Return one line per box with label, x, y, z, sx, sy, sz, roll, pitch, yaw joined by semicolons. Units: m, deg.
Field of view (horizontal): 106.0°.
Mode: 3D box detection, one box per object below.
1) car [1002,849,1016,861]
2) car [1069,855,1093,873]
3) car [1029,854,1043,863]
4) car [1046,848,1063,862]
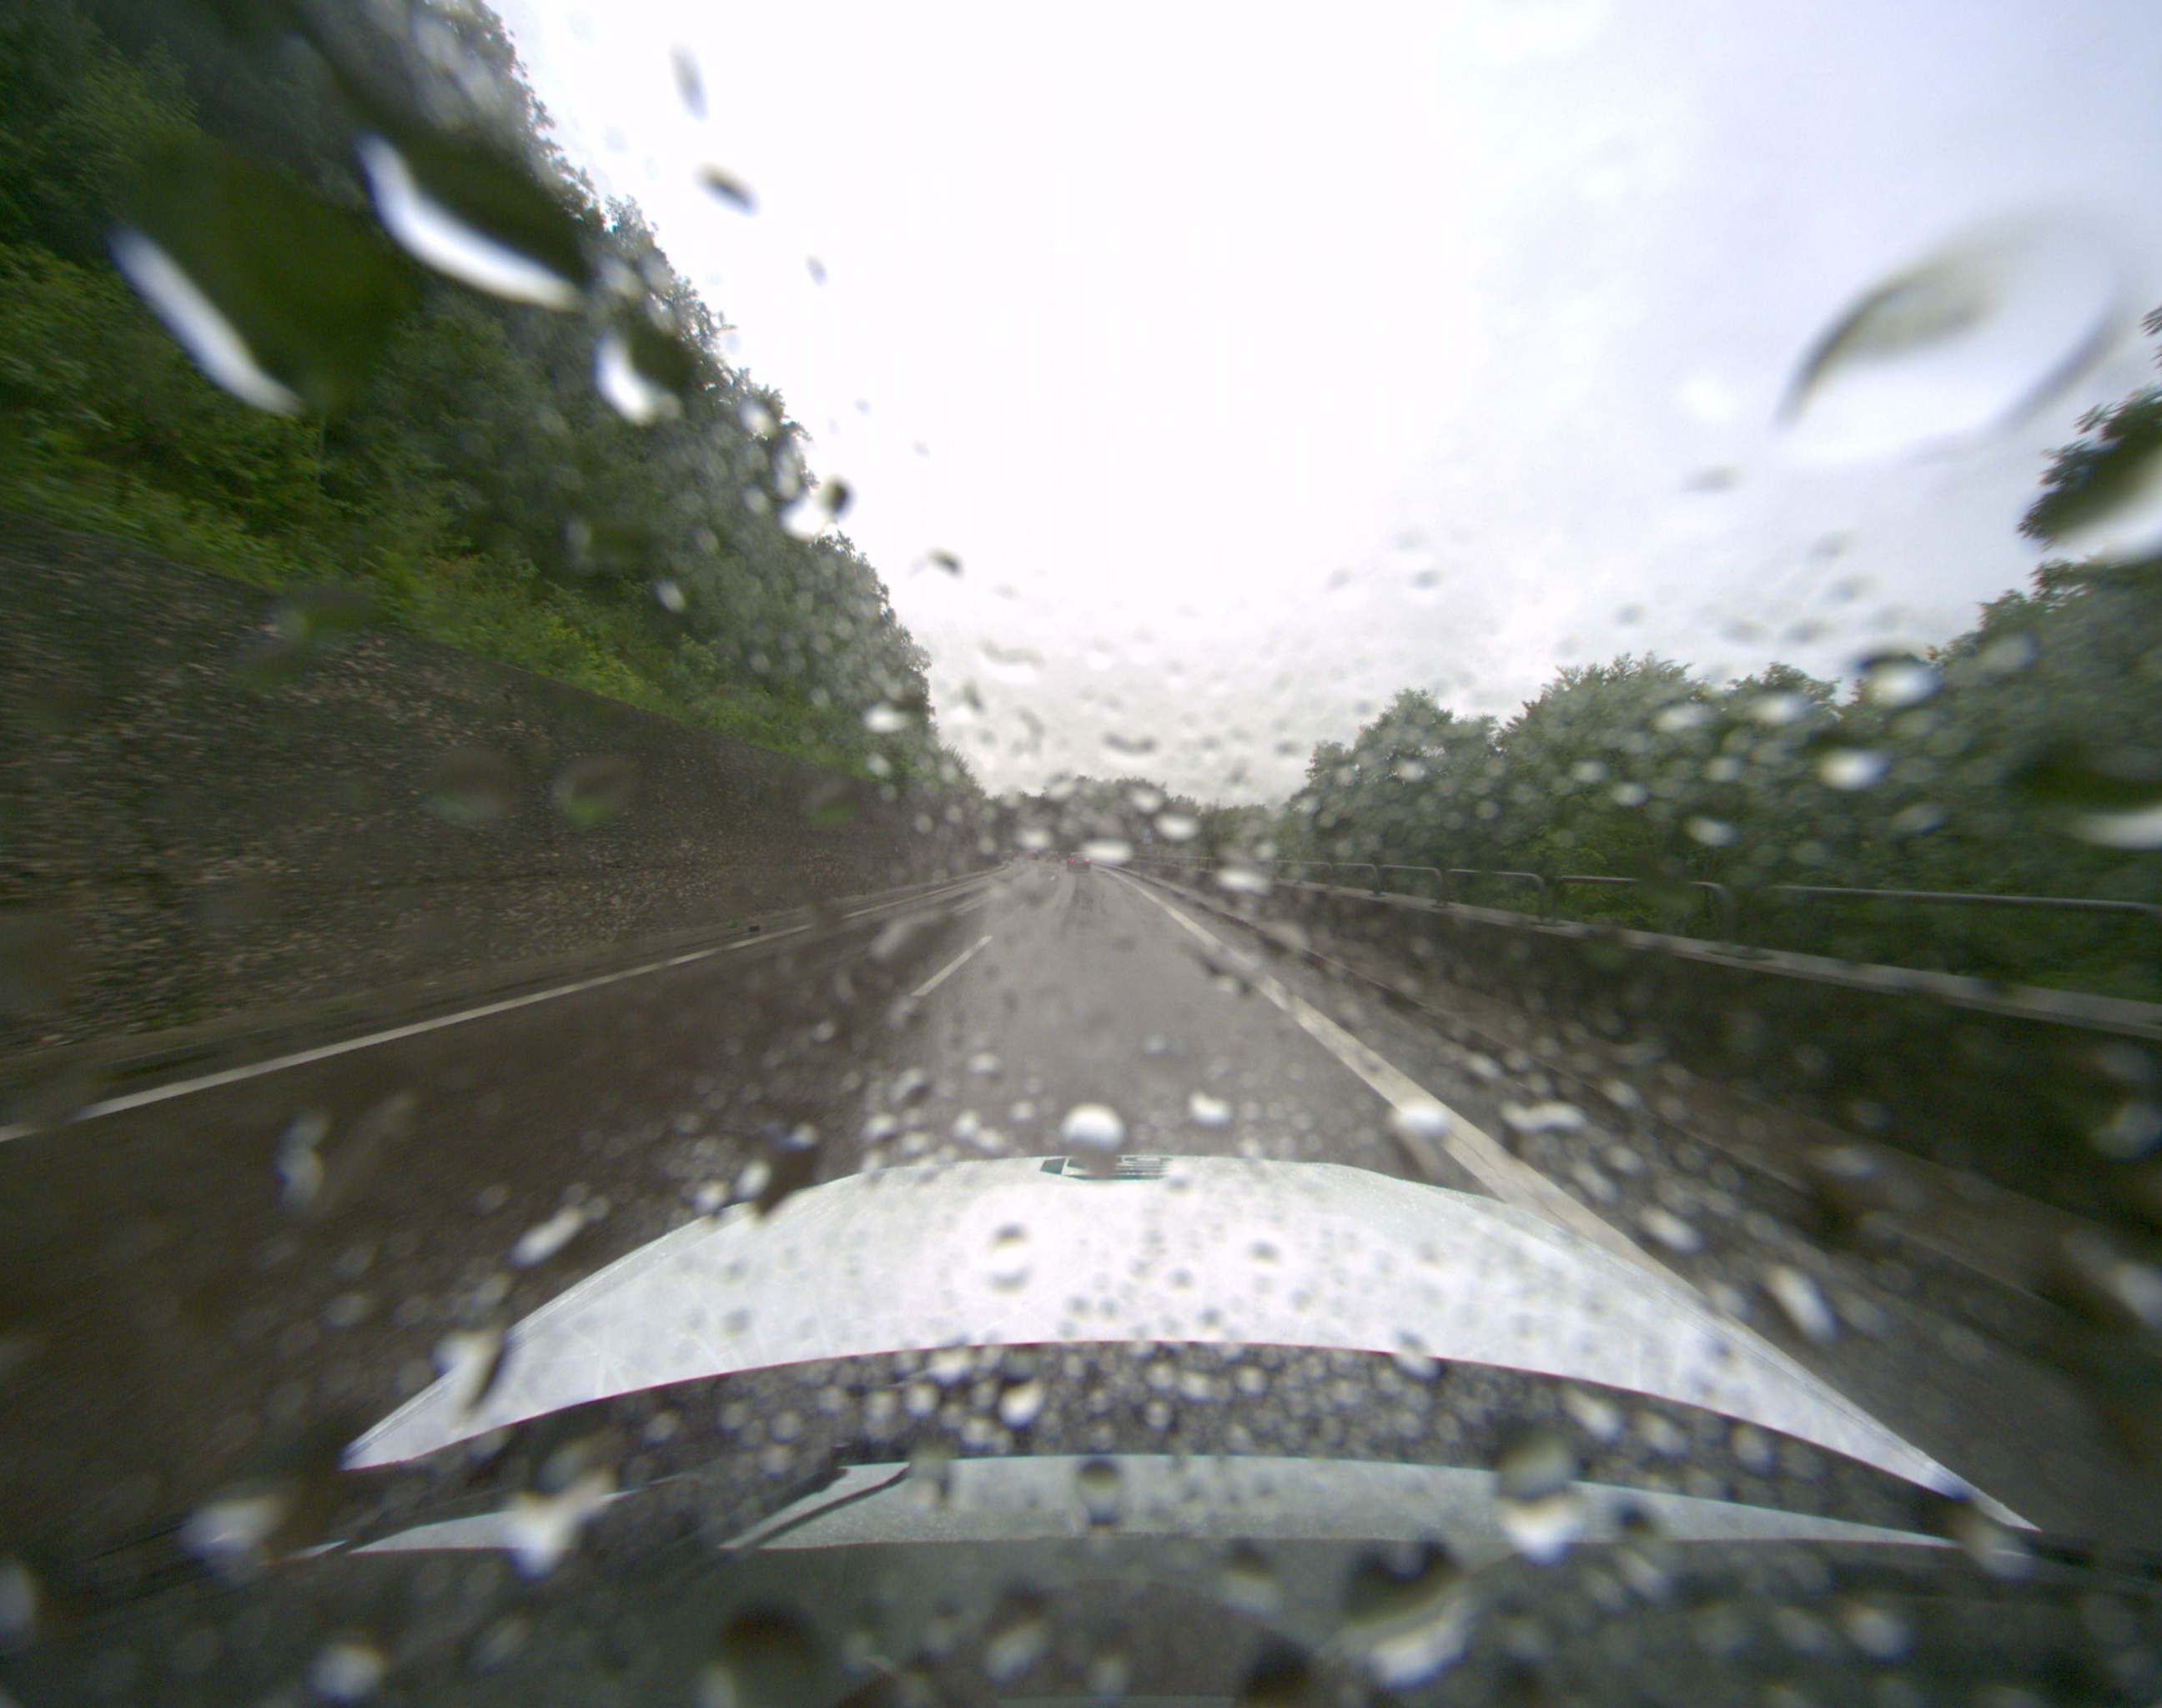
car;-11.895;0.148;134.678;1.992;1.904;3.988;0;0;-8
car;-0.028;0.725;62.993;1.795;1.307;3.999;-1;0;-1
car;-7.522;0.698;136.328;1.801;1.467;3.985;-1;0;-11
car;-3.611;0.122;109.474;1.991;1.750;3.992;-1;0;-6
